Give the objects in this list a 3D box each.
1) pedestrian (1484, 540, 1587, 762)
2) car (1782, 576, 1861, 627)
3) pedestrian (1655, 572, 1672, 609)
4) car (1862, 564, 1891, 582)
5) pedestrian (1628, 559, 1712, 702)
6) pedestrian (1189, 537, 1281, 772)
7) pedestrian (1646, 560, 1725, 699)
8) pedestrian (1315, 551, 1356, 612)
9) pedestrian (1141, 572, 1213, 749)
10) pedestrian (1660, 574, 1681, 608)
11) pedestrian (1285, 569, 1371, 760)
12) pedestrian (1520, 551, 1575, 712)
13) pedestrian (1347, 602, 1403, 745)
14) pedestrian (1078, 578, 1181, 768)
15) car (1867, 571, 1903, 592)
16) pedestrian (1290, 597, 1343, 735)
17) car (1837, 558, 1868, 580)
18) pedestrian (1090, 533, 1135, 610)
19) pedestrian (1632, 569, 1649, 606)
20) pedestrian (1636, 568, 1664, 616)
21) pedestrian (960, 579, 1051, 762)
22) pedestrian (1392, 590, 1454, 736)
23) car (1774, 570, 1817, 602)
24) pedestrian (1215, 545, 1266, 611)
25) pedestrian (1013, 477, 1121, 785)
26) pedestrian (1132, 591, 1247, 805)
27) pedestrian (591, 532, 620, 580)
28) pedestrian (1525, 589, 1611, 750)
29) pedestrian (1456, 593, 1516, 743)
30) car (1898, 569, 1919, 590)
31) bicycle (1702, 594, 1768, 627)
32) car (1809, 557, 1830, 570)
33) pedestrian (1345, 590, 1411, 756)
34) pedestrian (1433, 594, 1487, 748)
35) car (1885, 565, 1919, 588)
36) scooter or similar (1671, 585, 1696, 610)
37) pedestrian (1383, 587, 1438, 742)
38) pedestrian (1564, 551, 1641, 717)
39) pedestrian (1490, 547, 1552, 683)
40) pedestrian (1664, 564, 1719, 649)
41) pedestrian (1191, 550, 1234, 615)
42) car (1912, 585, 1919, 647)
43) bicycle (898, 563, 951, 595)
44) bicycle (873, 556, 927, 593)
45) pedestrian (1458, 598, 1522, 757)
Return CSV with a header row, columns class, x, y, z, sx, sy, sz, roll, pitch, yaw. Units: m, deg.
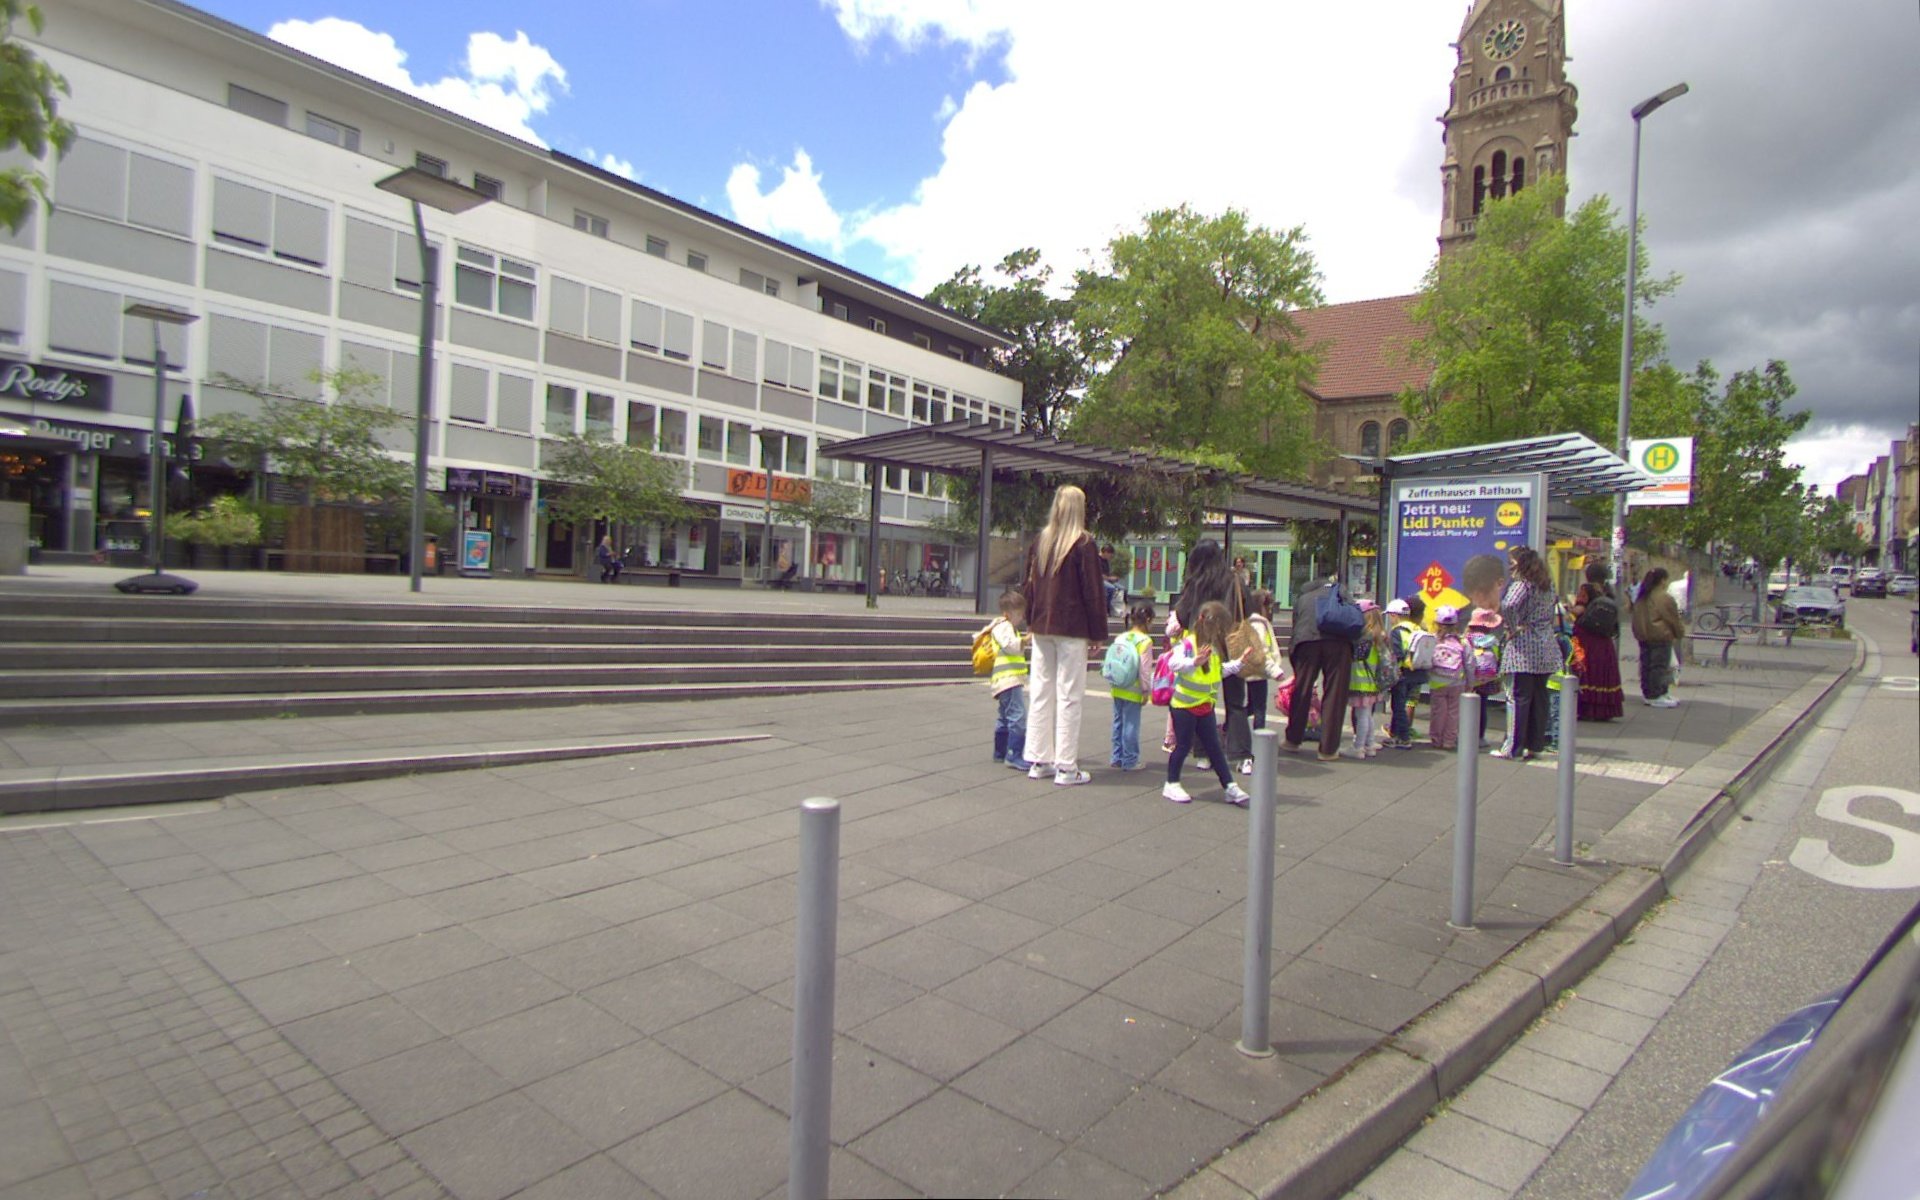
class,x,y,z,sx,sy,sz,roll,pitch,yaw
pedestrian,4.392,0.371,7.740,0.460,1.639,0.388,3,2,2
car,32.706,-0.009,38.534,1.924,1.745,4.513,4,3,37
pedestrian,32.547,-0.454,46.819,0.498,1.665,0.474,-2,4,-40
car,86.519,-2.551,95.527,1.682,1.542,3.482,3,4,38
pedestrian,8.041,0.333,11.478,0.477,1.568,0.544,2,1,-2
pedestrian,1.870,0.351,6.894,0.383,1.535,0.390,0,3,-40
pedestrian,8.463,0.332,11.815,0.477,1.568,0.515,1,2,-20
pedestrian,8.407,-0.418,22.656,0.536,1.323,0.625,1,2,-41
pedestrian,1.597,0.429,7.440,0.328,1.253,0.323,0,4,-43
pedestrian,32.351,-0.410,46.088,0.573,1.542,0.590,0,2,-38
pedestrian,2.708,0.448,7.491,0.426,1.319,0.598,3,3,10
pedestrian,5.928,0.305,10.225,0.391,1.585,0.349,3,2,27
pedestrian,3.242,0.565,7.910,0.246,1.082,0.252,1,3,-30
pedestrian,1.137,0.475,6.817,0.500,1.213,0.392,1,2,-21
car,65.375,-1.333,71.564,1.605,1.405,3.578,4,4,39
pedestrian,2.876,0.522,8.161,0.247,1.082,0.251,1,3,-36
car,77.965,-2.697,88.423,1.744,1.824,4.154,5,5,39
pedestrian,2.696,-0.494,17.887,0.535,1.340,0.569,1,0,-37
pedestrian,30.996,-0.564,46.089,0.498,1.665,0.474,-2,4,-40
pedestrian,26.143,-0.323,38.324,0.758,1.751,0.590,4,3,36
pedestrian,0.303,0.455,6.815,0.376,1.162,0.440,1,3,-37
pedestrian,3.835,0.513,8.393,0.313,1.166,0.321,3,2,4
car,53.941,-0.954,65.312,1.885,1.869,4.955,4,5,42
pedestrian,5.618,-0.445,20.291,0.662,1.285,0.772,1,0,-14
pedestrian,0.677,0.175,6.370,0.534,1.845,0.434,3,2,15
pedestrian,1.353,0.557,5.989,0.467,1.186,0.391,1,3,-31
pedestrian,-10.043,-1.249,28.690,0.562,1.340,0.542,1,0,18
pedestrian,4.871,0.541,8.115,0.380,1.241,0.405,1,2,-24
pedestrian,4.250,0.541,8.185,0.289,1.166,0.297,3,2,11
car,71.629,-1.556,75.744,1.724,1.448,3.457,2,4,38
bicycle,26.373,0.358,34.455,1.722,1.008,0.341,4,3,35
car,103.846,-4.413,122.323,1.678,1.518,4.099,3,4,37
pedestrian,3.116,0.532,7.560,0.331,1.180,0.350,3,4,12
pedestrian,3.941,0.550,7.985,0.260,1.175,0.270,3,2,13
car,75.998,-1.924,81.583,1.724,1.700,3.939,2,4,38
scooter or similar,33.055,-0.101,46.245,0.550,1.085,0.814,-2,4,-40
pedestrian,3.549,0.498,7.983,0.247,1.188,0.251,3,2,2
pedestrian,6.385,0.320,10.077,0.496,1.585,0.494,2,2,23
pedestrian,7.223,0.178,13.026,0.511,1.701,0.567,3,2,43
pedestrian,15.111,0.122,20.902,0.701,1.703,0.687,0,2,-36
pedestrian,4.924,-0.342,19.740,0.556,1.243,0.569,1,0,-37
car,25.218,0.451,25.170,1.886,1.543,3.686,0,3,38
bicycle,-1.444,-0.857,41.204,1.996,1.156,0.685,4,2,11
bicycle,-2.378,-1.009,40.131,1.995,1.323,0.685,4,2,11
pedestrian,3.992,0.577,7.627,0.243,1.166,0.276,2,2,-9
